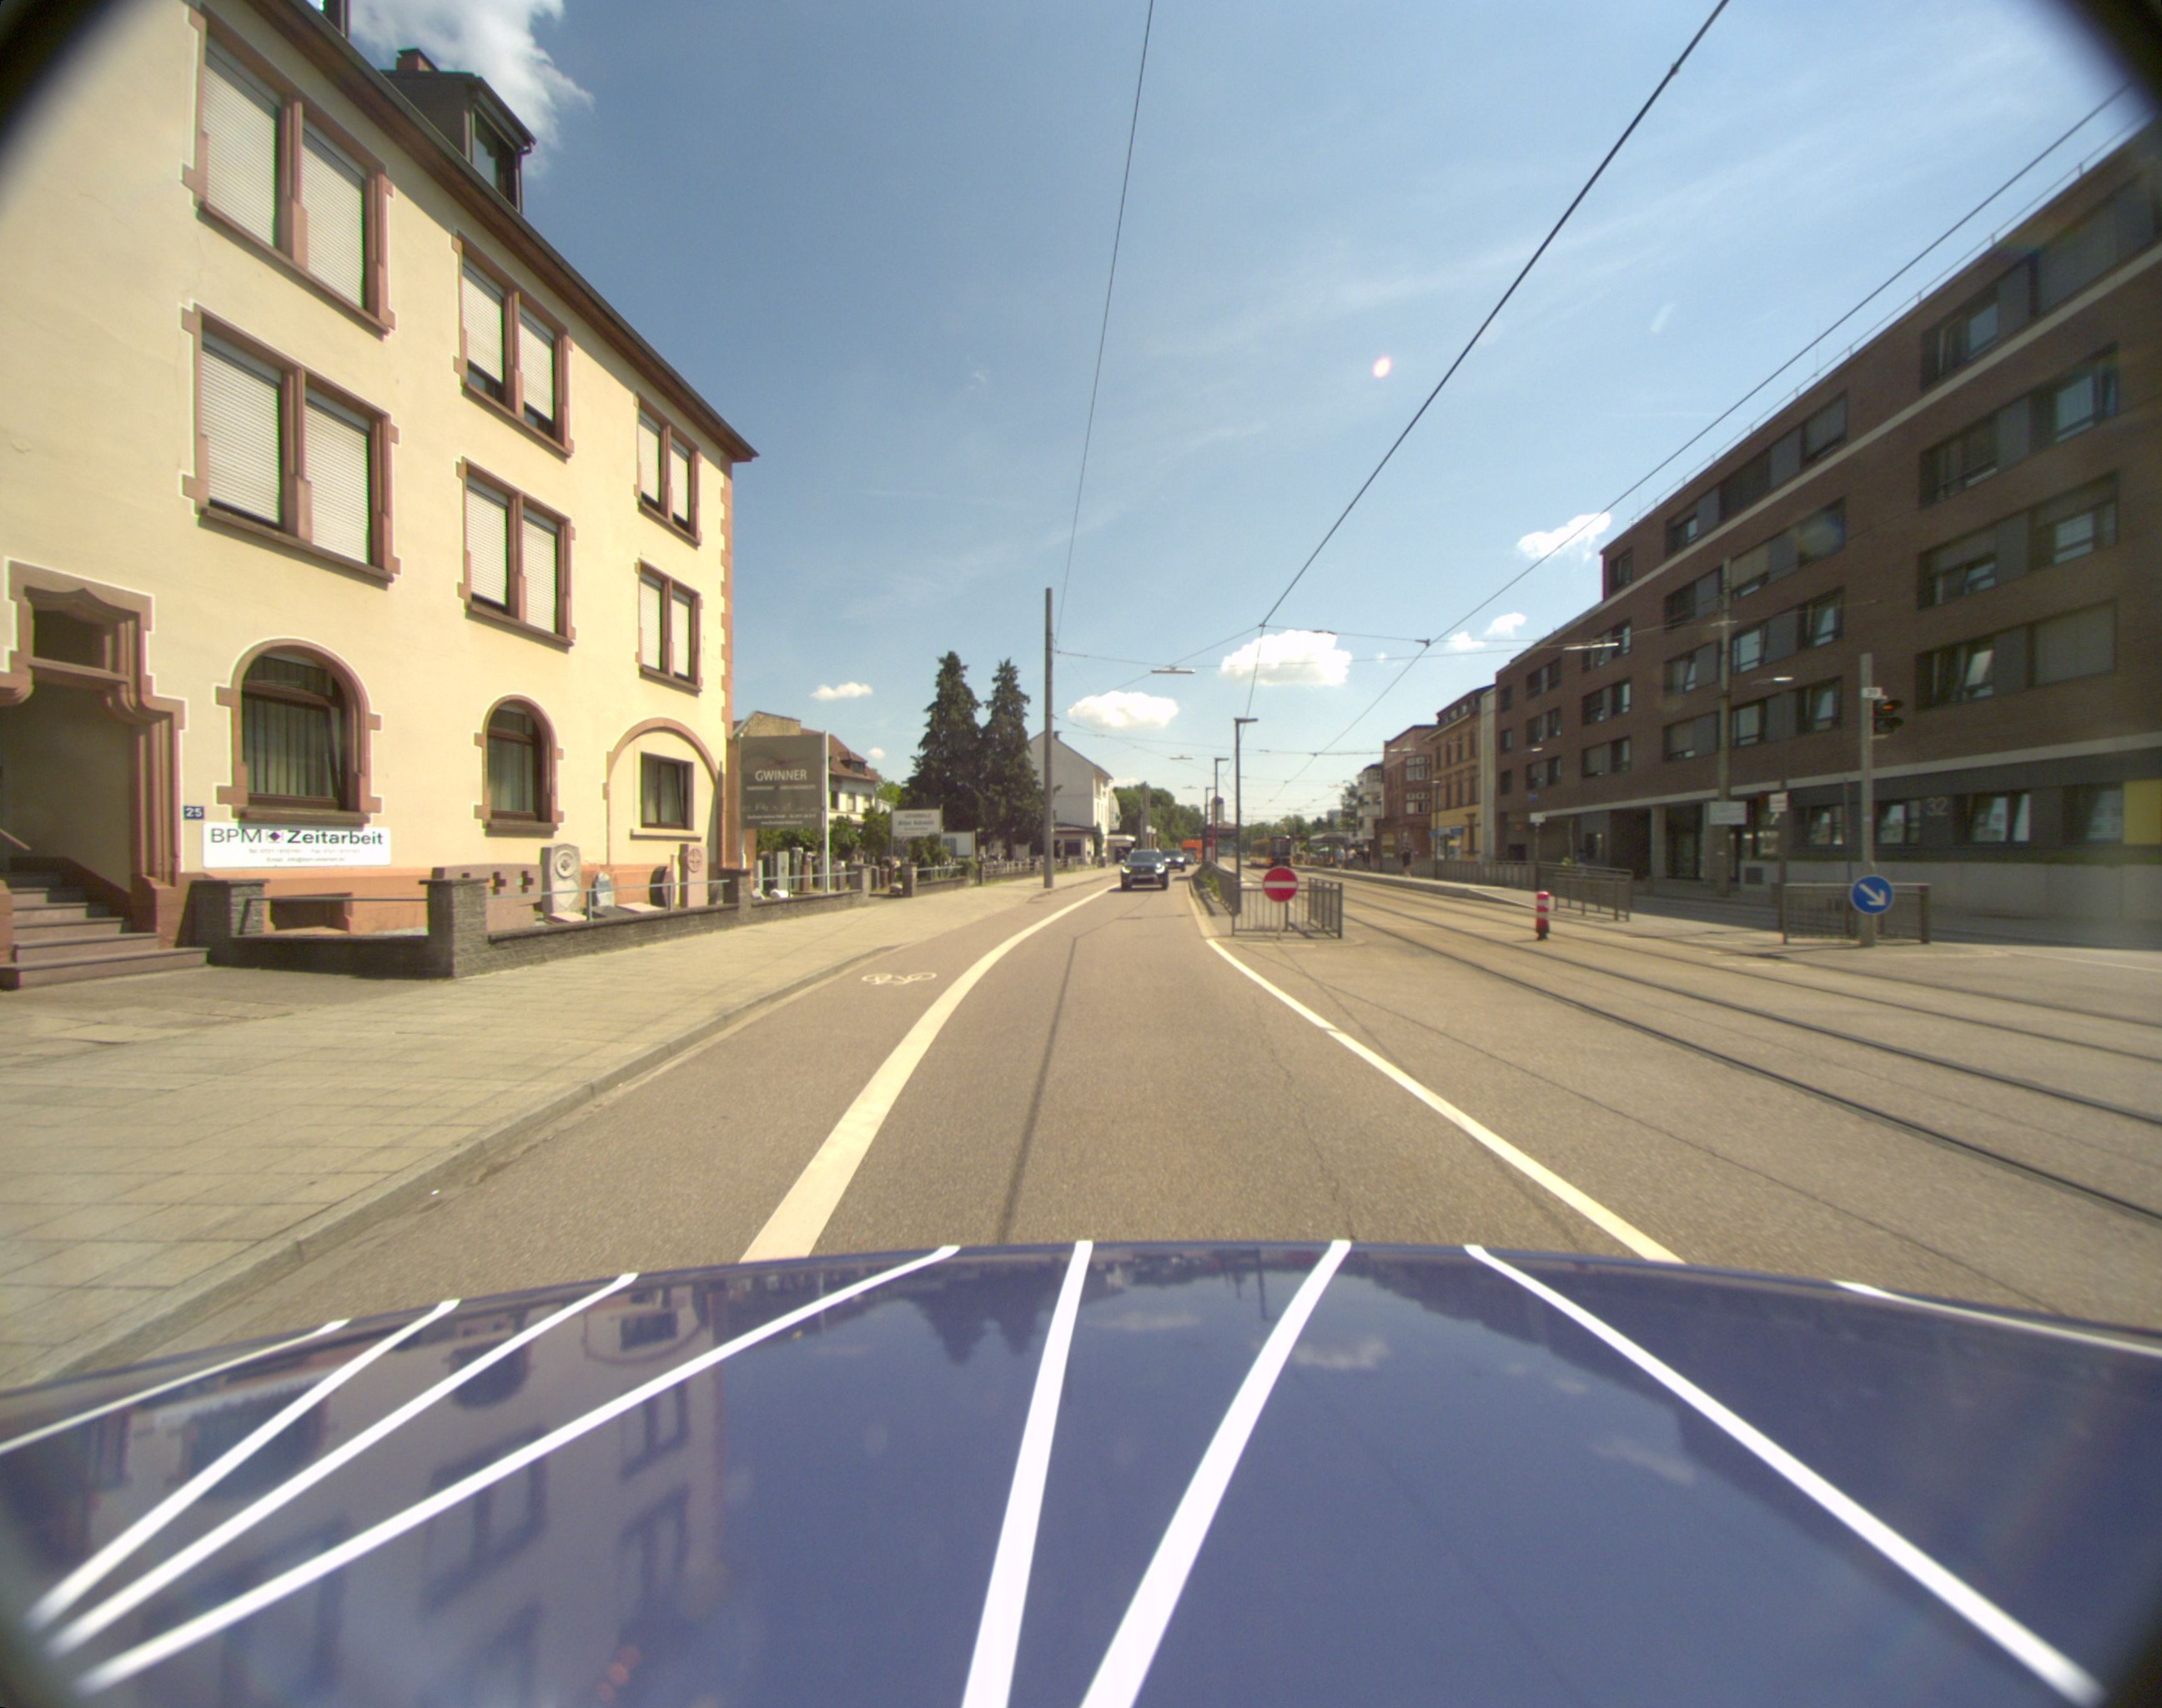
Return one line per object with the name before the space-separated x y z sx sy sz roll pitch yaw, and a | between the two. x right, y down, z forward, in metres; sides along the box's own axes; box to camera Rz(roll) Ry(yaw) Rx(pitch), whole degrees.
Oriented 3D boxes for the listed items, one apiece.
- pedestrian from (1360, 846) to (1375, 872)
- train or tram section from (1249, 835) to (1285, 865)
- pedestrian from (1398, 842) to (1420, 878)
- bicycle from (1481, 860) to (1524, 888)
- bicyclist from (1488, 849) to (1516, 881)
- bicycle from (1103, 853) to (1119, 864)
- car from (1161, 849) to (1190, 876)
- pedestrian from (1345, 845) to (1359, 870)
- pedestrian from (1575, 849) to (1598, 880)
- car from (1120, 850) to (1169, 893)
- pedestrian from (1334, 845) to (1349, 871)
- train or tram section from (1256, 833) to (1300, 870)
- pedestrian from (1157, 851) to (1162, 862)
pedestrian | 17.659 0.292 46.804 0.686 1.587 0.762 1 1 9
train or tram section | 24.503 -0.554 101.149 3.256 3.546 20.515 0 1 10
pedestrian | 16.038 0.299 37.177 0.686 1.750 1.034 1 1 9
bicycle | 19.575 0.890 35.347 0.818 1.215 2.390 1 0 6
bicyclist | 19.570 0.498 35.314 0.760 1.495 1.066 0 1 4
bicycle | 3.013 0.439 77.090 1.534 1.080 0.430 2 1 16
car | 7.297 0.611 58.404 1.997 2.002 4.003 0 1 11
pedestrian | 18.799 0.225 52.702 0.761 1.685 0.809 1 1 9
pedestrian | 26.129 0.552 39.264 0.686 1.587 0.762 1 1 9
car | 2.534 0.649 30.735 1.845 1.565 4.488 0 1 4
pedestrian | 18.227 0.264 53.200 0.761 1.789 0.952 1 1 9
train or tram section | 21.272 -0.336 83.026 3.240 3.546 16.360 0 1 10
pedestrian | 11.173 0.334 108.078 0.563 1.656 0.683 0 1 33
